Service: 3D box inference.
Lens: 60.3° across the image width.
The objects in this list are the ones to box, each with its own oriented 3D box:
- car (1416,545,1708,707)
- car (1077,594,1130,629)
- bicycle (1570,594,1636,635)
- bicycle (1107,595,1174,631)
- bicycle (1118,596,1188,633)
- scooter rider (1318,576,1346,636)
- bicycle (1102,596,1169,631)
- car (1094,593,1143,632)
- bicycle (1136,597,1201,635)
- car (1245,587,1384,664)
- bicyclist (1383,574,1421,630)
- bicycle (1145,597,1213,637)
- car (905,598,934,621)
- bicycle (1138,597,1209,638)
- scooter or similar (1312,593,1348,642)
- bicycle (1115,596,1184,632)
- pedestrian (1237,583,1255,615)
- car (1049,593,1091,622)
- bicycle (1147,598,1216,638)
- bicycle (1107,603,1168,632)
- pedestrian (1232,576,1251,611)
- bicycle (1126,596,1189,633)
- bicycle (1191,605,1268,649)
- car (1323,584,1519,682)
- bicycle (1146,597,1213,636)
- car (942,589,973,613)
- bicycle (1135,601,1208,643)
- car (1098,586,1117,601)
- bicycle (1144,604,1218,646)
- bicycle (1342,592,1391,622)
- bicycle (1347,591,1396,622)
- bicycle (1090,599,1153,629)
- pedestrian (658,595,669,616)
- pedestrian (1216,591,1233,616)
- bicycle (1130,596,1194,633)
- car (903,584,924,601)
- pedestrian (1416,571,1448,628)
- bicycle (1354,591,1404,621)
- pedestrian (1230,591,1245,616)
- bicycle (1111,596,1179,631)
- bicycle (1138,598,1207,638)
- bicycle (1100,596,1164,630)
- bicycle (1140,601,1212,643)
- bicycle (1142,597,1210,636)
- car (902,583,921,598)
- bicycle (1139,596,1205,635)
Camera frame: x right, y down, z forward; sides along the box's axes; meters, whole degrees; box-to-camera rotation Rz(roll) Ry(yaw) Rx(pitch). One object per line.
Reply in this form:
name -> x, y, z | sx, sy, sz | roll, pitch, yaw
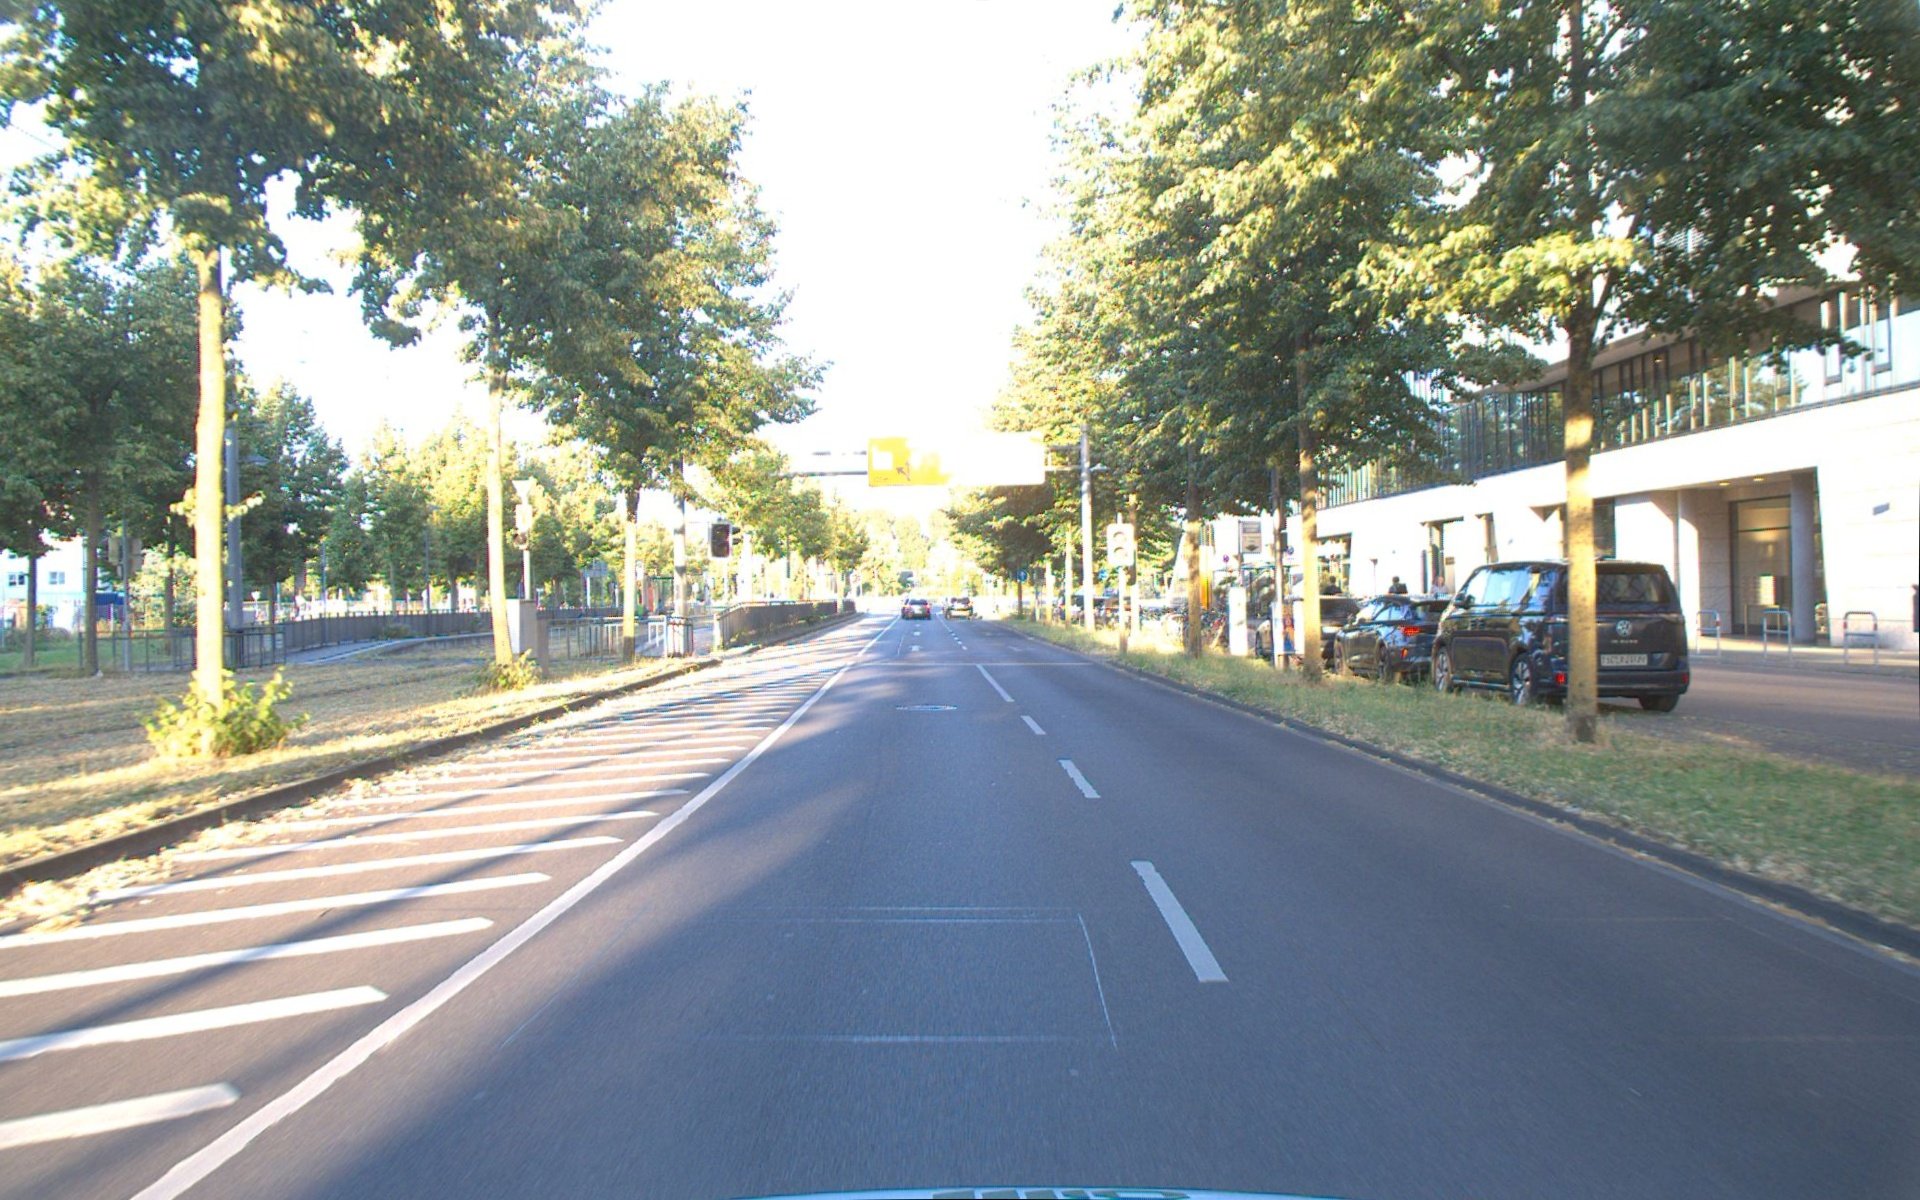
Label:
car -> 7.834, 0.303, 22.072 | 1.954, 1.884, 4.662 | -1, 0, -3
car -> 6.420, 0.509, 74.356 | 1.742, 1.498, 4.285 | -1, 0, -3
bicycle -> 16.550, 0.370, 42.576 | 1.543, 1.004, 0.404 | -1, 0, -1
bicycle -> 5.930, 0.429, 54.446 | 2.102, 1.072, 0.524 | 2, 0, -8
bicycle -> 6.124, 0.447, 52.417 | 2.102, 1.072, 0.570 | 2, 0, -8
scooter rider -> 10.445, 0.162, 46.484 | 0.515, 1.667, 0.831 | -1, 0, -4
bicycle -> 5.838, 0.440, 55.010 | 2.102, 1.072, 0.524 | 2, 0, -8
car -> 6.448, 0.496, 67.414 | 1.543, 1.498, 3.881 | -1, 0, -1
bicycle -> 6.321, 0.485, 50.167 | 1.906, 1.072, 0.413 | 2, 0, -9
car -> 7.312, 0.492, 34.571 | 1.831, 1.436, 4.645 | -2, 0, -1
bicyclist -> 12.826, 0.067, 47.991 | 0.756, 1.594, 0.991 | -1, 0, -4
bicycle -> 6.382, 0.497, 48.223 | 1.906, 1.072, 0.314 | 2, 0, -9
car -> -2.775, 0.612, 111.606 | 1.873, 1.512, 3.998 | -1, 0, -2
bicycle -> 6.034, 0.503, 46.804 | 1.906, 1.072, 0.544 | 2, 0, -9
scooter or similar -> 10.424, 0.491, 46.600 | 0.515, 1.333, 1.663 | -1, 0, -4
bicycle -> 6.090, 0.444, 53.173 | 2.102, 1.072, 0.561 | 2, 0, -8
pedestrian -> 15.583, -0.045, 90.118 | 0.625, 1.748, 0.695 | -1, 0, -21
car -> 5.939, 0.413, 89.562 | 1.722, 1.491, 4.155 | -1, 0, -4
bicycle -> 6.405, 0.512, 47.819 | 1.906, 1.072, 0.408 | 2, 0, -9
bicycle -> 6.316, 0.616, 58.807 | 2.102, 0.956, 0.442 | 2, 0, -8
pedestrian -> 14.564, -0.350, 85.568 | 0.696, 1.767, 0.682 | -1, 0, -32
bicycle -> 6.178, 0.444, 51.778 | 1.905, 1.072, 0.404 | 2, 0, -8
bicycle -> 7.105, 0.699, 43.689 | 1.903, 1.072, 0.545 | 2, 0, -2
car -> 7.728, 0.514, 28.216 | 1.773, 1.497, 4.662 | -1, 0, -3
bicycle -> 6.438, 0.489, 48.599 | 1.906, 1.072, 0.347 | 2, 0, -9
car -> -0.189, 0.079, 109.842 | 1.873, 1.512, 3.998 | -1, 0, -2
bicycle -> 5.812, 0.603, 45.428 | 1.910, 1.072, 0.543 | 2, 0, -17
car -> 18.217, -0.833, 204.086 | 1.951, 1.758, 4.004 | -1, 0, 11
bicycle -> 5.982, 0.674, 44.862 | 1.910, 1.072, 0.543 | 2, 0, -17
bicycle -> 15.818, 0.280, 64.372 | 1.750, 1.123, 0.508 | -1, 0, -7
bicycle -> 15.851, 0.243, 63.703 | 1.750, 1.123, 0.508 | -1, 0, -7
bicycle -> 5.541, 0.482, 56.757 | 2.102, 0.956, 0.442 | 2, 0, -8
pedestrian -> -19.567, 0.358, 109.176 | 0.602, 1.342, 0.744 | -1, 0, -5
pedestrian -> 14.320, 0.180, 89.572 | 0.617, 1.305, 0.712 | -1, 0, -23
bicycle -> 6.257, 0.446, 51.339 | 1.905, 1.072, 0.404 | 2, 0, -8
car -> -4.317, -0.709, 153.027 | 1.873, 1.512, 3.998 | -1, 0, -2
pedestrian -> 14.242, -0.024, 49.893 | 0.630, 1.677, 0.953 | -1, 0, -2
bicycle -> 15.978, 0.230, 63.087 | 1.750, 1.123, 0.508 | -1, 0, -7
pedestrian -> 14.972, 0.188, 89.238 | 0.567, 1.305, 0.738 | -1, 0, -5
bicycle -> 6.013, 0.434, 53.864 | 2.102, 1.072, 0.570 | 2, 0, -8
bicycle -> 6.078, 0.519, 47.328 | 1.906, 1.072, 0.408 | 2, 0, -9
bicycle -> 5.777, 0.433, 55.457 | 2.102, 1.072, 0.300 | 2, 0, -8
bicycle -> 6.028, 0.614, 46.175 | 1.908, 1.072, 0.543 | 2, 0, -13
bicycle -> 6.408, 0.476, 49.060 | 1.906, 1.072, 0.413 | 2, 0, -9
car -> -5.024, -0.994, 169.644 | 1.873, 1.512, 3.998 | -1, 0, -2
bicycle -> 6.361, 0.466, 49.596 | 1.906, 1.072, 0.413 | 2, 0, -9
